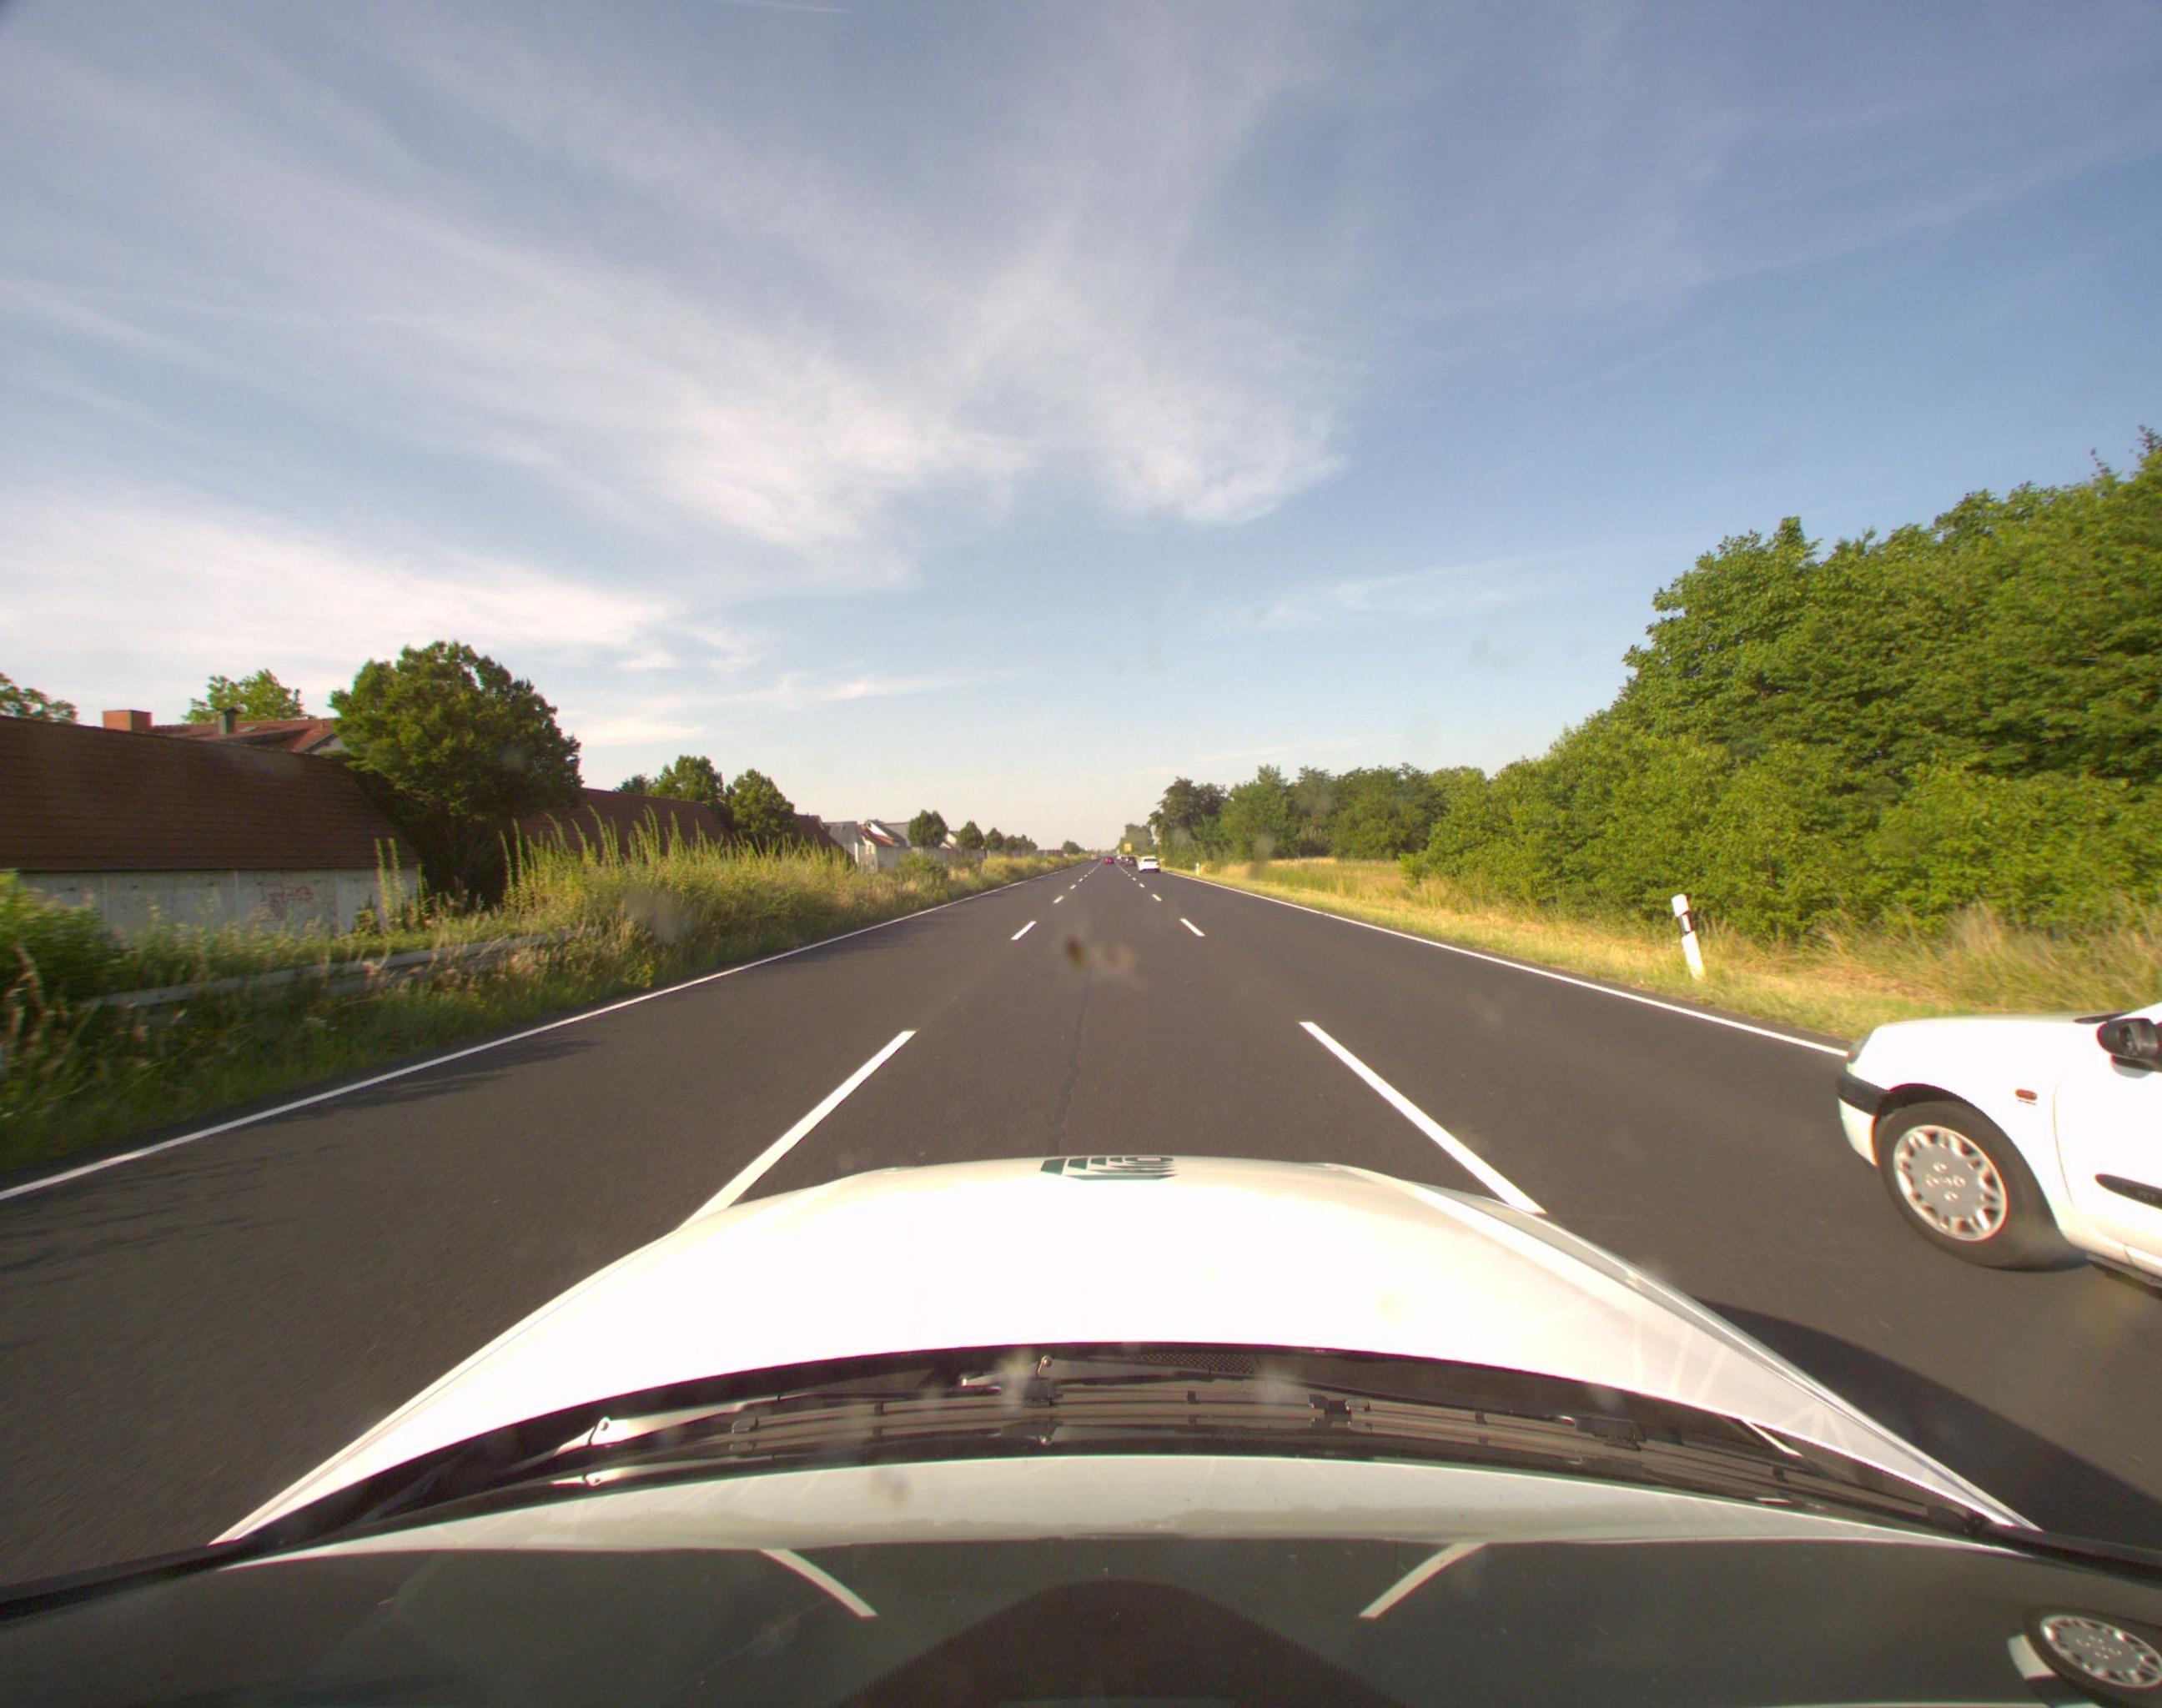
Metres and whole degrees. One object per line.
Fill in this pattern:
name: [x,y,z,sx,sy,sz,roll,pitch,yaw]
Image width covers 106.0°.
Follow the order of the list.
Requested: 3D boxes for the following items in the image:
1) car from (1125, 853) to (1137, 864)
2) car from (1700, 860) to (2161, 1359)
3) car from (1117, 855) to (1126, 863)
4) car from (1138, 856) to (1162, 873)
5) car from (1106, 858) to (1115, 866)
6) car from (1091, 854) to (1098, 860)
car: [7.835,0.767,128.199,1.821,1.728,4.001,-1,-1,1]
car: [3.848,0.718,2.052,1.611,1.387,3.952,-1,-1,1]
car: [8.531,1.059,171.341,1.827,1.717,3.864,-1,-1,2]
car: [6.280,0.945,74.261,1.986,1.516,4.001,-1,-1,2]
car: [5.699,1.515,157.897,1.805,1.436,3.859,-1,-1,1]
car: [3.827,0.730,226.492,1.751,1.618,4.004,-1,-1,3]
